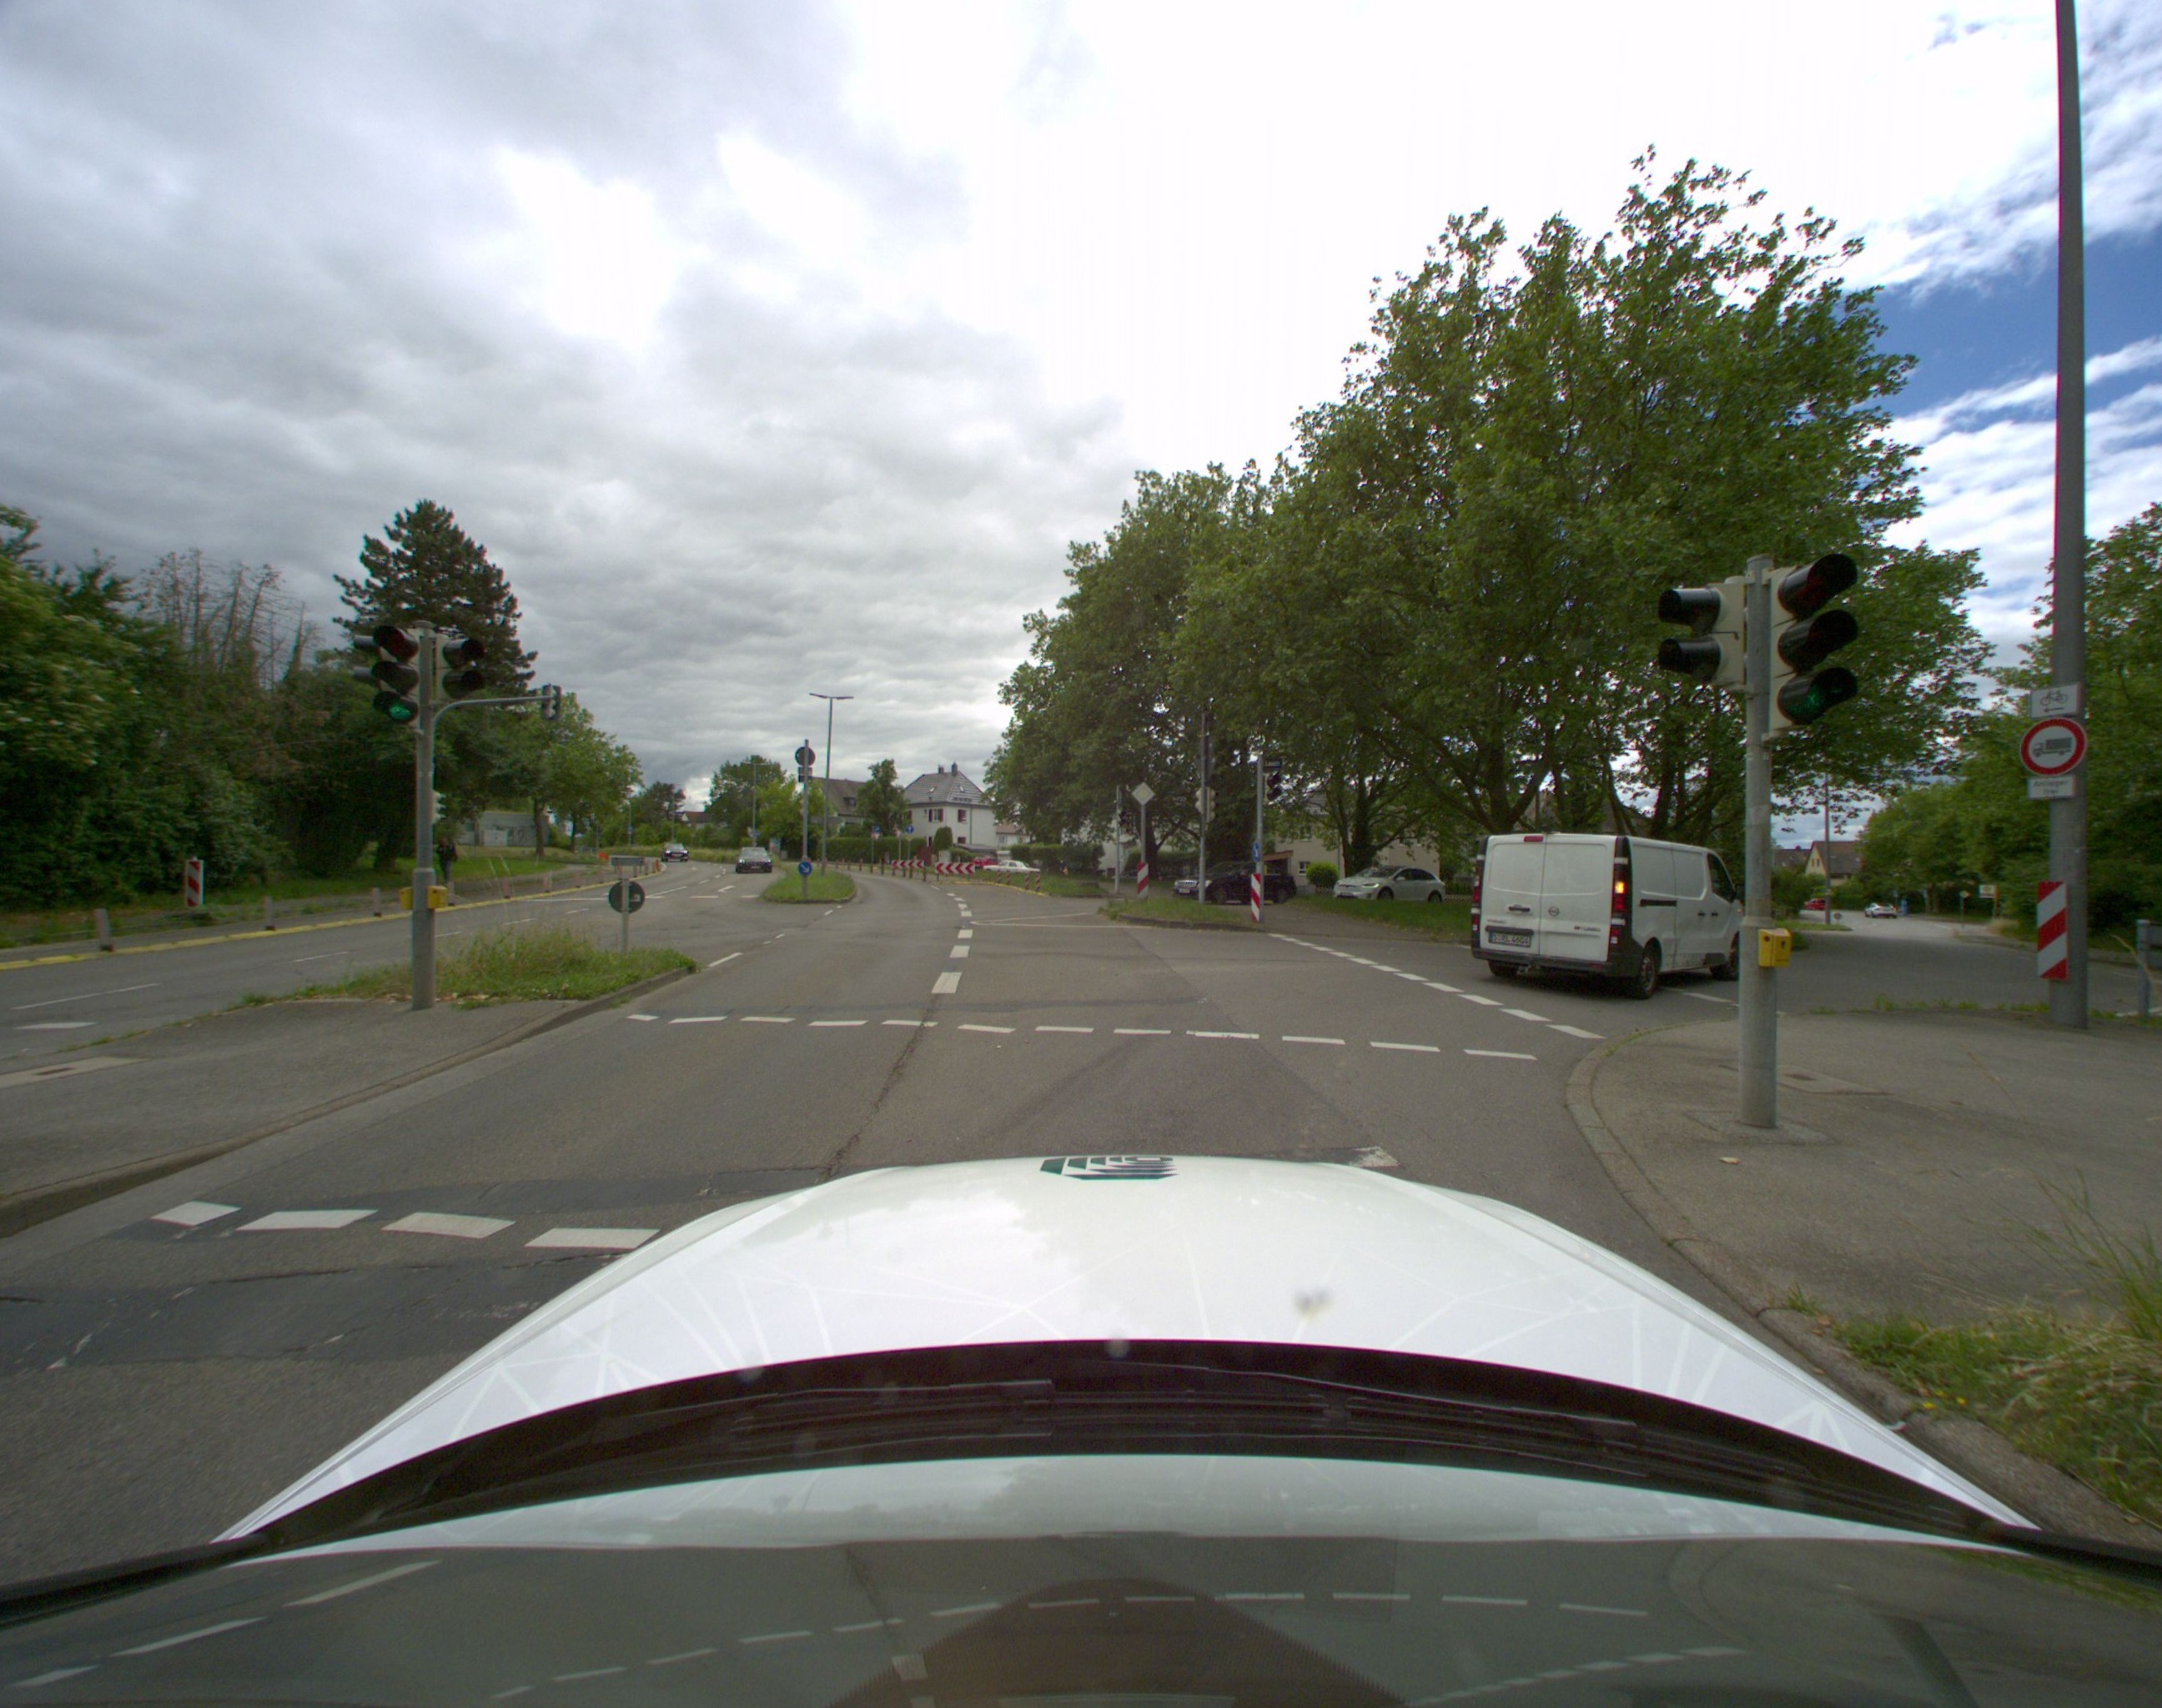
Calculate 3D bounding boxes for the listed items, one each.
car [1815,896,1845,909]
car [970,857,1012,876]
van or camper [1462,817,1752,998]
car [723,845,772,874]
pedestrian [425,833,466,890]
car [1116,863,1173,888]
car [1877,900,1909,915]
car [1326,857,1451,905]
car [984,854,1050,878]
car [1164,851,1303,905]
[{"bbox_3d":[110.726,7.175,120.468,1.745,1.797,4.975,0,-2,24],"label":"car"},{"bbox_3d":[-7.994,1.114,72.638,1.589,1.517,3.848,2,-2,34],"label":"car"},{"bbox_3d":[7.461,0.615,11.342,4.852,2.013,1.909,1,0,-38],"label":"van or camper"},{"bbox_3d":[-19.541,0.280,47.605,1.853,1.631,4.217,-1,1,-33],"label":"car"},{"bbox_3d":[-23.195,0.270,29.725,0.954,2.013,0.848,1,0,-24],"label":"pedestrian"},{"bbox_3d":[4.759,1.578,61.223,3.956,1.514,1.668,4,1,14],"label":"car"},{"bbox_3d":[88.523,5.850,88.865,1.710,1.474,3.402,1,-2,31],"label":"car"},{"bbox_3d":[11.554,0.965,30.459,4.925,1.658,1.838,1,0,-34],"label":"car"},{"bbox_3d":[-5.120,0.917,65.160,4.823,1.791,2.229,1,0,25],"label":"car"},{"bbox_3d":[4.957,0.785,26.281,4.403,1.517,1.744,4,-2,-33],"label":"car"}]
